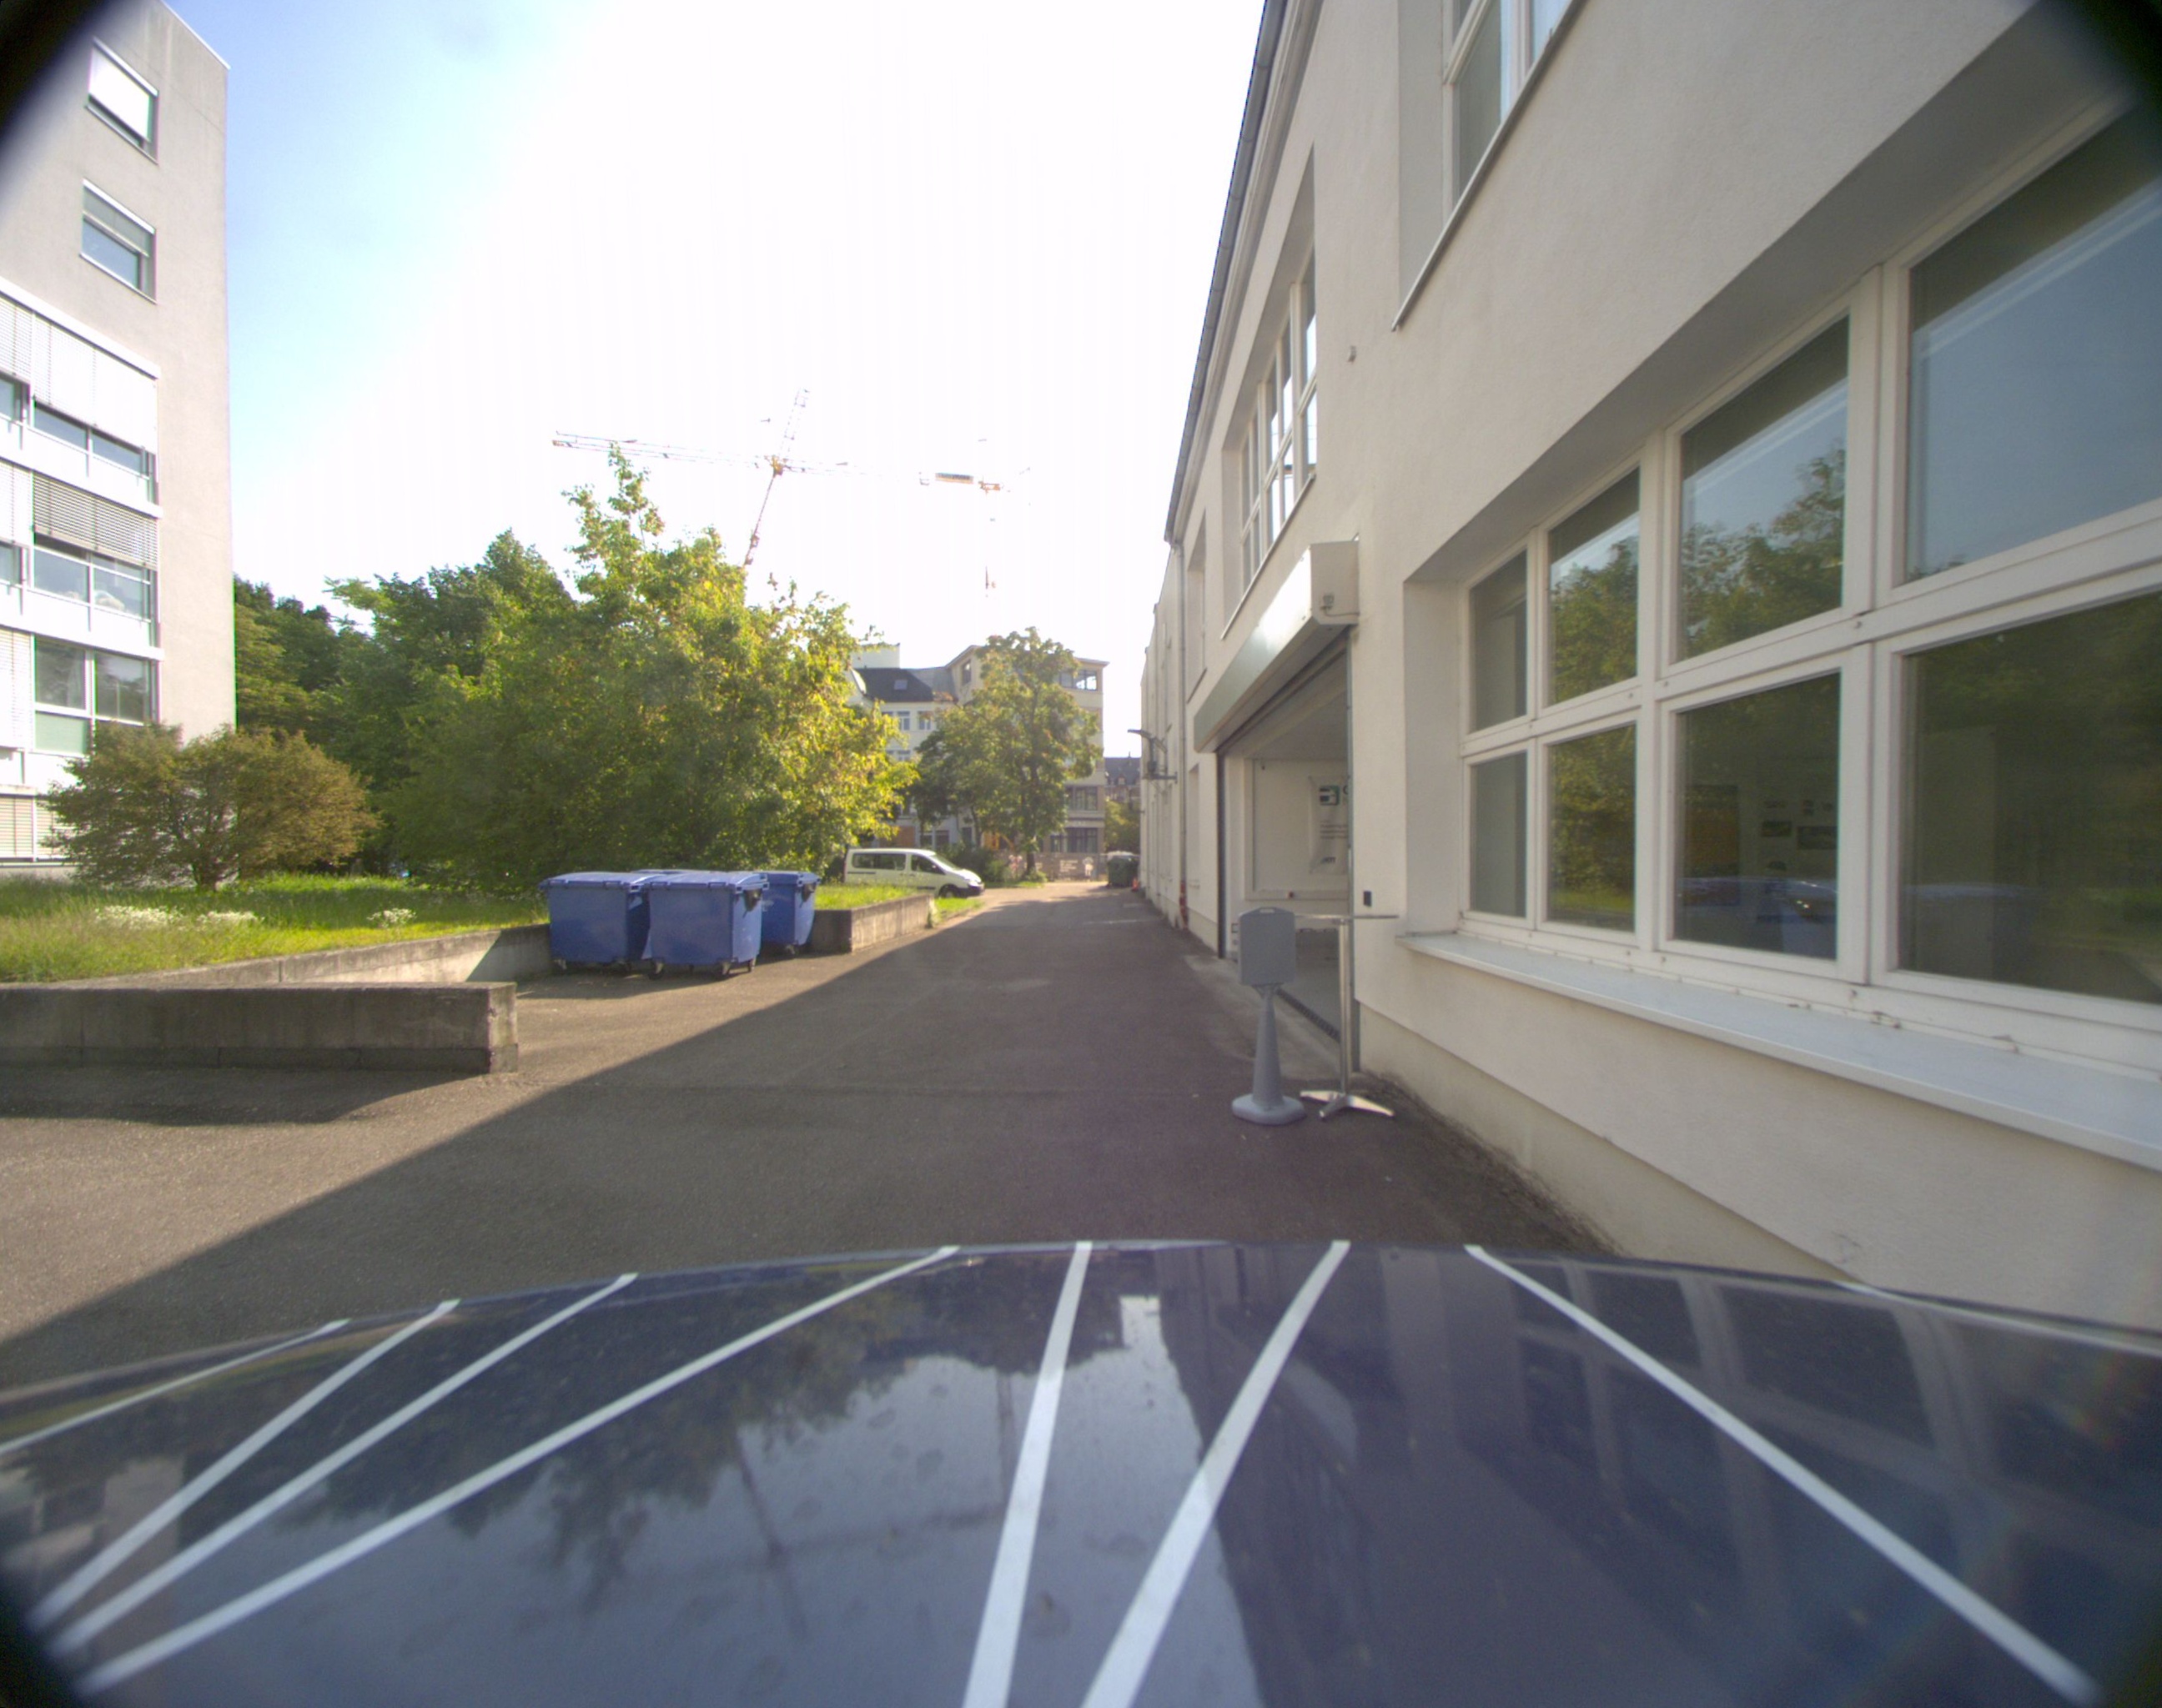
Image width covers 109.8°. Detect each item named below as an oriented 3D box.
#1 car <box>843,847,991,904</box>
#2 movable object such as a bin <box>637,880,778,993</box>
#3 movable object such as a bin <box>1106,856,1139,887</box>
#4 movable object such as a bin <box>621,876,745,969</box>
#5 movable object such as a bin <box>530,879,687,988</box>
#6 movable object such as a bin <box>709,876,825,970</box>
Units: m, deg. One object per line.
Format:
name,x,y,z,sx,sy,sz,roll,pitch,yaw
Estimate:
car,-5.773,0.736,27.077,4.788,1.920,1.909,0,0,4
movable object such as a bin,-4.877,1.045,10.042,1.213,1.343,1.275,0,0,1
movable object such as a bin,1.992,0.815,36.312,1.524,1.457,1.275,0,0,3
movable object such as a bin,-6.107,1.024,11.762,1.199,1.320,1.275,0,0,3
movable object such as a bin,-6.247,1.020,10.150,1.257,1.320,1.275,0,0,3
movable object such as a bin,-4.756,1.012,11.619,1.199,1.320,1.275,0,0,3
